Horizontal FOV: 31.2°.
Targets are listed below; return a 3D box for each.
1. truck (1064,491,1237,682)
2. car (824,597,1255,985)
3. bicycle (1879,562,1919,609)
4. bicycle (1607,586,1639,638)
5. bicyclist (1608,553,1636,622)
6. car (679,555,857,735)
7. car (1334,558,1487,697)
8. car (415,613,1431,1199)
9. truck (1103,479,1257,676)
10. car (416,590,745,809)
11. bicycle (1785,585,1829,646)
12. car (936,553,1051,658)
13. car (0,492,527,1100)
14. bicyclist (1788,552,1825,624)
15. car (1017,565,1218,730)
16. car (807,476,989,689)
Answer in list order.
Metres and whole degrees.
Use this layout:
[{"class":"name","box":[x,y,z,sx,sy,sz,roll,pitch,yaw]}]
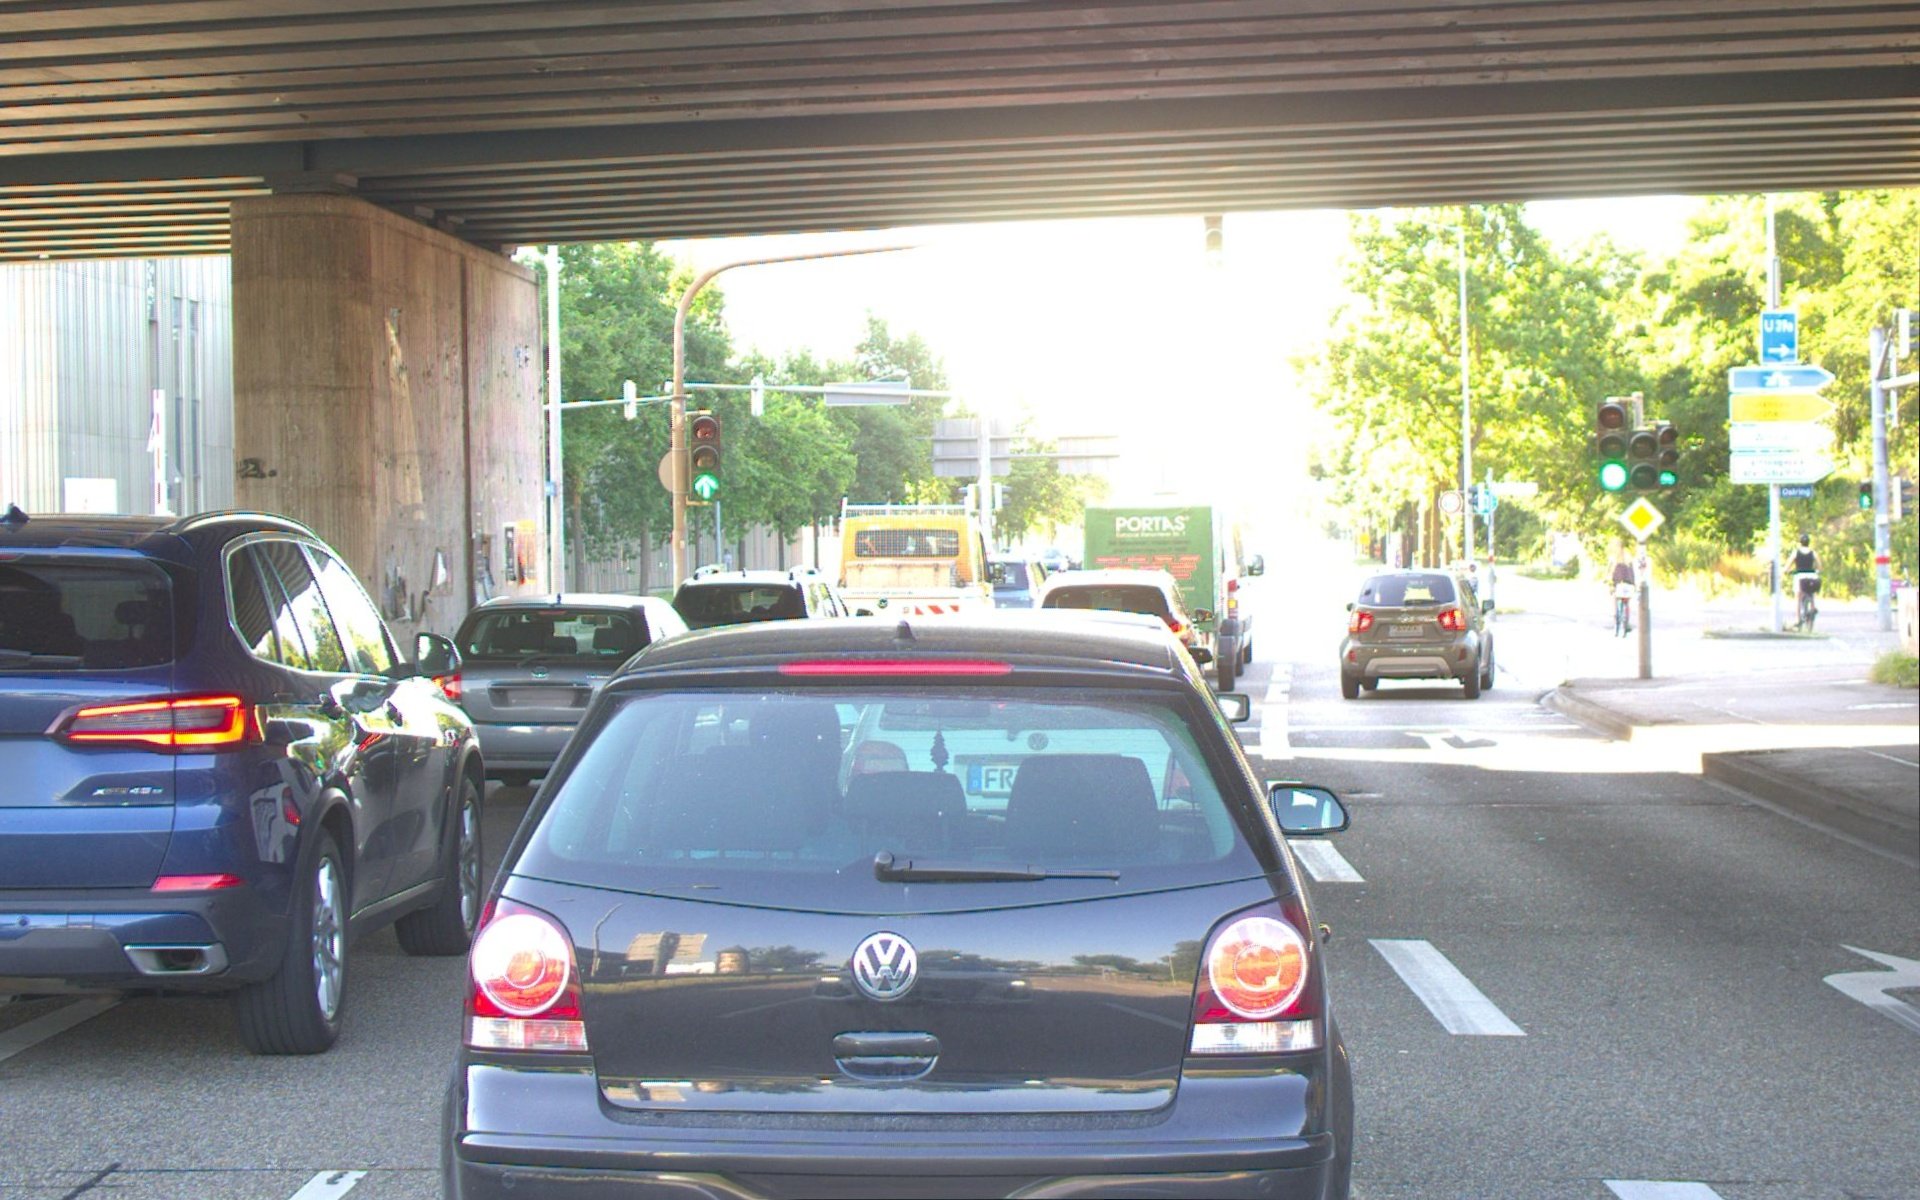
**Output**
[{"class":"truck","box":[2.485,-0.172,43.957,1.996,2.307,3.999,1,0,6]},{"class":"car","box":[0.316,0.705,14.753,1.578,1.408,4.062,1,0,1]},{"class":"bicycle","box":[21.420,-0.333,76.739,1.664,0.988,0.577,-1,3,23]},{"class":"bicycle","box":[11.946,0.219,61.964,0.437,0.911,1.026,-2,0,6]},{"class":"bicyclist","box":[11.935,-0.232,61.971,0.427,1.229,0.460,-1,0,6]},{"class":"car","box":[-1.860,0.420,34.213,1.616,1.673,3.683,1,0,-1]},{"class":"car","box":[5.650,0.324,42.828,1.737,1.625,4.061,1,0,9]},{"class":"car","box":[-0.156,0.754,7.339,1.616,1.405,3.683,1,0,-3]},{"class":"truck","box":[3.167,-0.312,48.904,1.996,2.659,3.999,1,0,6]},{"class":"car","box":[-2.601,0.646,24.321,1.617,1.405,3.682,1,0,5]},{"class":"bicycle","box":[15.643,0.274,63.535,0.565,1.108,1.621,1,0,6]},{"class":"car","box":[0.581,0.090,57.241,1.617,1.673,3.682,1,0,5]},{"class":"car","box":[-2.895,0.546,12.125,1.993,1.728,4.532,1,0,2]},{"class":"bicyclist","box":[15.644,-0.226,63.567,0.544,1.311,0.835,1,0,6]},{"class":"car","box":[1.653,0.453,34.869,1.796,1.553,3.999,1,0,6]},{"class":"car","box":[-0.729,-0.219,44.415,2.136,2.567,5.087,1,0,1]}]
